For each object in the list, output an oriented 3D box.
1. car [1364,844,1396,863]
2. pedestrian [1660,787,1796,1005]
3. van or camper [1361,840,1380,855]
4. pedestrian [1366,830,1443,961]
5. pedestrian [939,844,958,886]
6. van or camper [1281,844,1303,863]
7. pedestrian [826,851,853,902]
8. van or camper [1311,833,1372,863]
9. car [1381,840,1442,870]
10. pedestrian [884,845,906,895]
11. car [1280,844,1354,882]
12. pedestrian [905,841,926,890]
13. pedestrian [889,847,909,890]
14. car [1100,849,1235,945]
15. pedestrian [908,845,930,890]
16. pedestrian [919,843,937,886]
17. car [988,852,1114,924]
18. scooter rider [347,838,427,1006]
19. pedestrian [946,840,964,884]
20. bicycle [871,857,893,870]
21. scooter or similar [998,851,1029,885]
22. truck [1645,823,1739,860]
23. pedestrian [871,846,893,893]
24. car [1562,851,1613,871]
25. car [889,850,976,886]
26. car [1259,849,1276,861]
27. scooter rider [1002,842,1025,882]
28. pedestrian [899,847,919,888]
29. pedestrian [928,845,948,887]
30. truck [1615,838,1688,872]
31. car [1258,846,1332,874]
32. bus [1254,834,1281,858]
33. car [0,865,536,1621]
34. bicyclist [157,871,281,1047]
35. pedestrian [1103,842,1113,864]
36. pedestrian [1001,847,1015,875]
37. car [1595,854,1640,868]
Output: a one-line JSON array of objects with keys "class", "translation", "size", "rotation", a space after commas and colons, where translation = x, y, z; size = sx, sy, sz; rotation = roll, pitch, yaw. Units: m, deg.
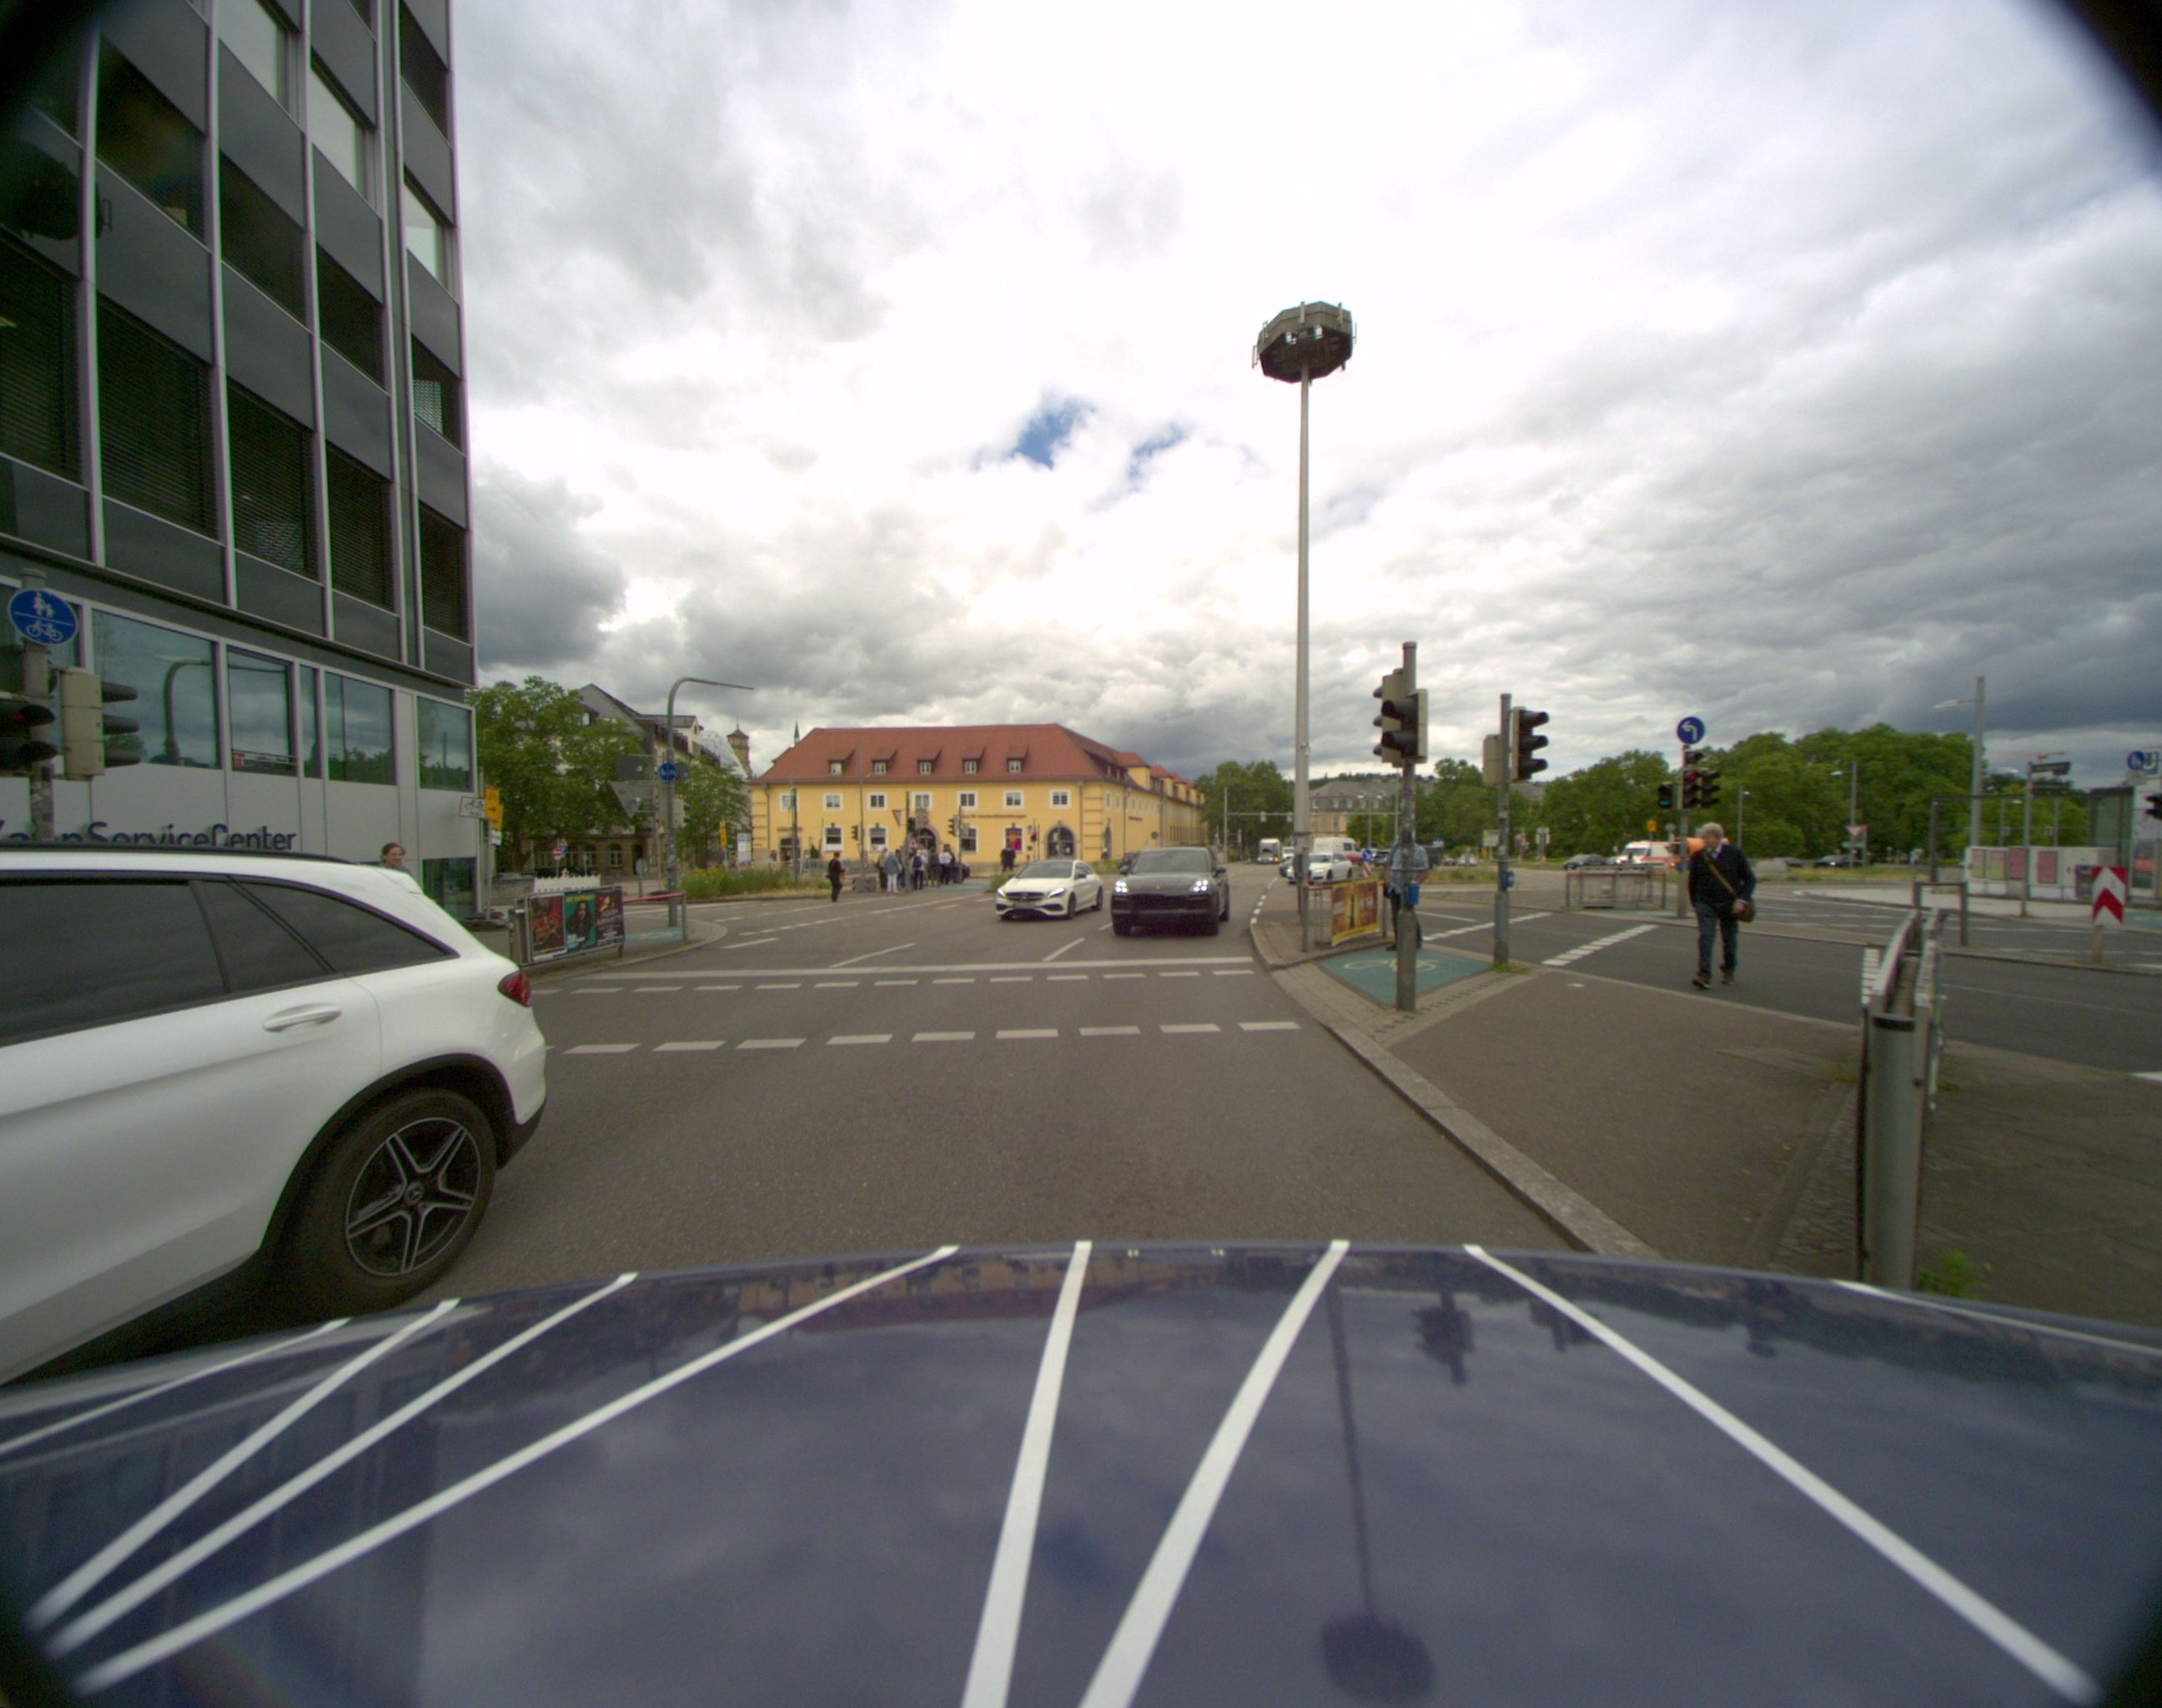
[{"class": "car", "translation": [24.031, -0.022, 60.910], "size": [1.944, 1.474, 4.636], "rotation": [-1, -1, 26]}, {"class": "pedestrian", "translation": [6.840, 0.416, 8.057], "size": [0.880, 2.160, 0.761], "rotation": [-1, 1, -23]}, {"class": "van or camper", "translation": [36.164, -0.815, 95.033], "size": [1.862, 1.905, 4.719], "rotation": [-1, 1, 16]}, {"class": "pedestrian", "translation": [4.573, 0.580, 10.777], "size": [0.717, 1.780, 0.634], "rotation": [3, -1, -6]}, {"class": "pedestrian", "translation": [-5.800, 0.471, 33.148], "size": [0.611, 1.786, 0.641], "rotation": [-1, 1, -29]}, {"class": "van or camper", "translation": [26.536, -0.086, 95.436], "size": [2.370, 2.249, 6.296], "rotation": [1, 1, 19]}, {"class": "pedestrian", "translation": [-8.083, 0.747, 25.423], "size": [0.803, 1.688, 0.547], "rotation": [-1, 1, -24]}, {"class": "van or camper", "translation": [22.582, -0.545, 65.715], "size": [6.173, 2.463, 2.141], "rotation": [-1, 1, -41]}, {"class": "car", "translation": [23.101, 0.038, 53.056], "size": [4.651, 1.977, 1.855], "rotation": [-1, 2, -39]}, {"class": "pedestrian", "translation": [-7.156, 0.602, 29.208], "size": [0.670, 1.852, 0.701], "rotation": [-1, 1, -26]}, {"class": "car", "translation": [11.031, 0.462, 35.313], "size": [2.091, 1.599, 4.422], "rotation": [-3, -2, 33]}, {"class": "pedestrian", "translation": [-6.770, 0.463, 31.077], "size": [0.611, 1.953, 0.641], "rotation": [-1, 1, -29]}, {"class": "pedestrian", "translation": [-7.392, 0.582, 30.825], "size": [0.611, 1.686, 0.641], "rotation": [-1, 1, -29]}, {"class": "car", "translation": [1.988, 0.744, 15.766], "size": [2.002, 1.629, 5.026], "rotation": [-1, 1, 15]}, {"class": "pedestrian", "translation": [-6.461, 0.544, 30.249], "size": [0.670, 1.751, 0.762], "rotation": [-1, 1, -26]}, {"class": "pedestrian", "translation": [-6.768, 0.448, 33.604], "size": [0.611, 1.899, 0.641], "rotation": [-1, 1, -29]}, {"class": "car", "translation": [-0.612, 0.760, 19.553], "size": [1.868, 1.560, 4.657], "rotation": [0, 1, 16]}, {"class": "scooter rider", "translation": [-7.817, 0.726, 8.561], "size": [0.641, 1.798, 0.594], "rotation": [2, 2, 43]}, {"class": "pedestrian", "translation": [-5.670, 0.351, 34.230], "size": [0.611, 1.944, 0.641], "rotation": [-1, 1, -26]}, {"class": "bicycle", "translation": [-17.440, 0.837, 66.514], "size": [1.770, 1.079, 0.621], "rotation": [0, 1, 4]}, {"class": "scooter or similar", "translation": [-2.891, 0.567, 32.305], "size": [0.777, 1.398, 1.884], "rotation": [-1, 1, -21]}, {"class": "truck", "translation": [61.569, -1.230, 76.506], "size": [9.185, 3.595, 2.724], "rotation": [0, 0, -18]}, {"class": "pedestrian", "translation": [-7.801, 0.578, 29.726], "size": [0.670, 1.805, 0.701], "rotation": [-1, 1, -26]}, {"class": "car", "translation": [45.100, 0.591, 67.692], "size": [3.743, 1.729, 1.857], "rotation": [0, 1, -18]}, {"class": "car", "translation": [-7.011, 0.625, 35.732], "size": [3.813, 1.567, 1.997], "rotation": [0, 1, -18]}, {"class": "car", "translation": [23.380, 0.120, 95.191], "size": [1.825, 1.401, 4.004], "rotation": [0, 1, 16]}, {"class": "scooter rider", "translation": [-2.888, 0.332, 32.304], "size": [0.767, 1.684, 0.745], "rotation": [-1, 1, -21]}, {"class": "pedestrian", "translation": [-7.297, 0.573, 32.208], "size": [0.611, 1.686, 0.641], "rotation": [-1, 1, -29]}, {"class": "pedestrian", "translation": [-5.954, 0.494, 31.690], "size": [0.611, 1.686, 0.641], "rotation": [-1, 1, -29]}, {"class": "truck", "translation": [49.415, 0.066, 65.801], "size": [5.792, 2.768, 1.954], "rotation": [-1, 1, -16]}, {"class": "car", "translation": [12.423, 0.317, 44.036], "size": [4.007, 1.592, 1.995], "rotation": [-1, 1, -33]}, {"class": "bus", "translation": [26.464, -1.101, 107.681], "size": [3.429, 3.185, 13.076], "rotation": [-1, 1, 14]}, {"class": "car", "translation": [-3.344, 0.895, 1.132], "size": [1.806, 1.637, 4.334], "rotation": [1, 1, 3]}, {"class": "bicyclist", "translation": [-8.251, 0.954, 7.310], "size": [0.566, 1.541, 0.844], "rotation": [0, 2, -34]}, {"class": "pedestrian", "translation": [2.289, -0.101, 64.653], "size": [0.639, 1.884, 0.557], "rotation": [0, 1, -17]}, {"class": "pedestrian", "translation": [-4.728, 0.438, 49.207], "size": [0.827, 1.779, 0.752], "rotation": [0, 1, 2]}, {"class": "car", "translation": [55.280, 0.700, 78.279], "size": [3.858, 1.266, 1.775], "rotation": [-1, 1, -17]}]
